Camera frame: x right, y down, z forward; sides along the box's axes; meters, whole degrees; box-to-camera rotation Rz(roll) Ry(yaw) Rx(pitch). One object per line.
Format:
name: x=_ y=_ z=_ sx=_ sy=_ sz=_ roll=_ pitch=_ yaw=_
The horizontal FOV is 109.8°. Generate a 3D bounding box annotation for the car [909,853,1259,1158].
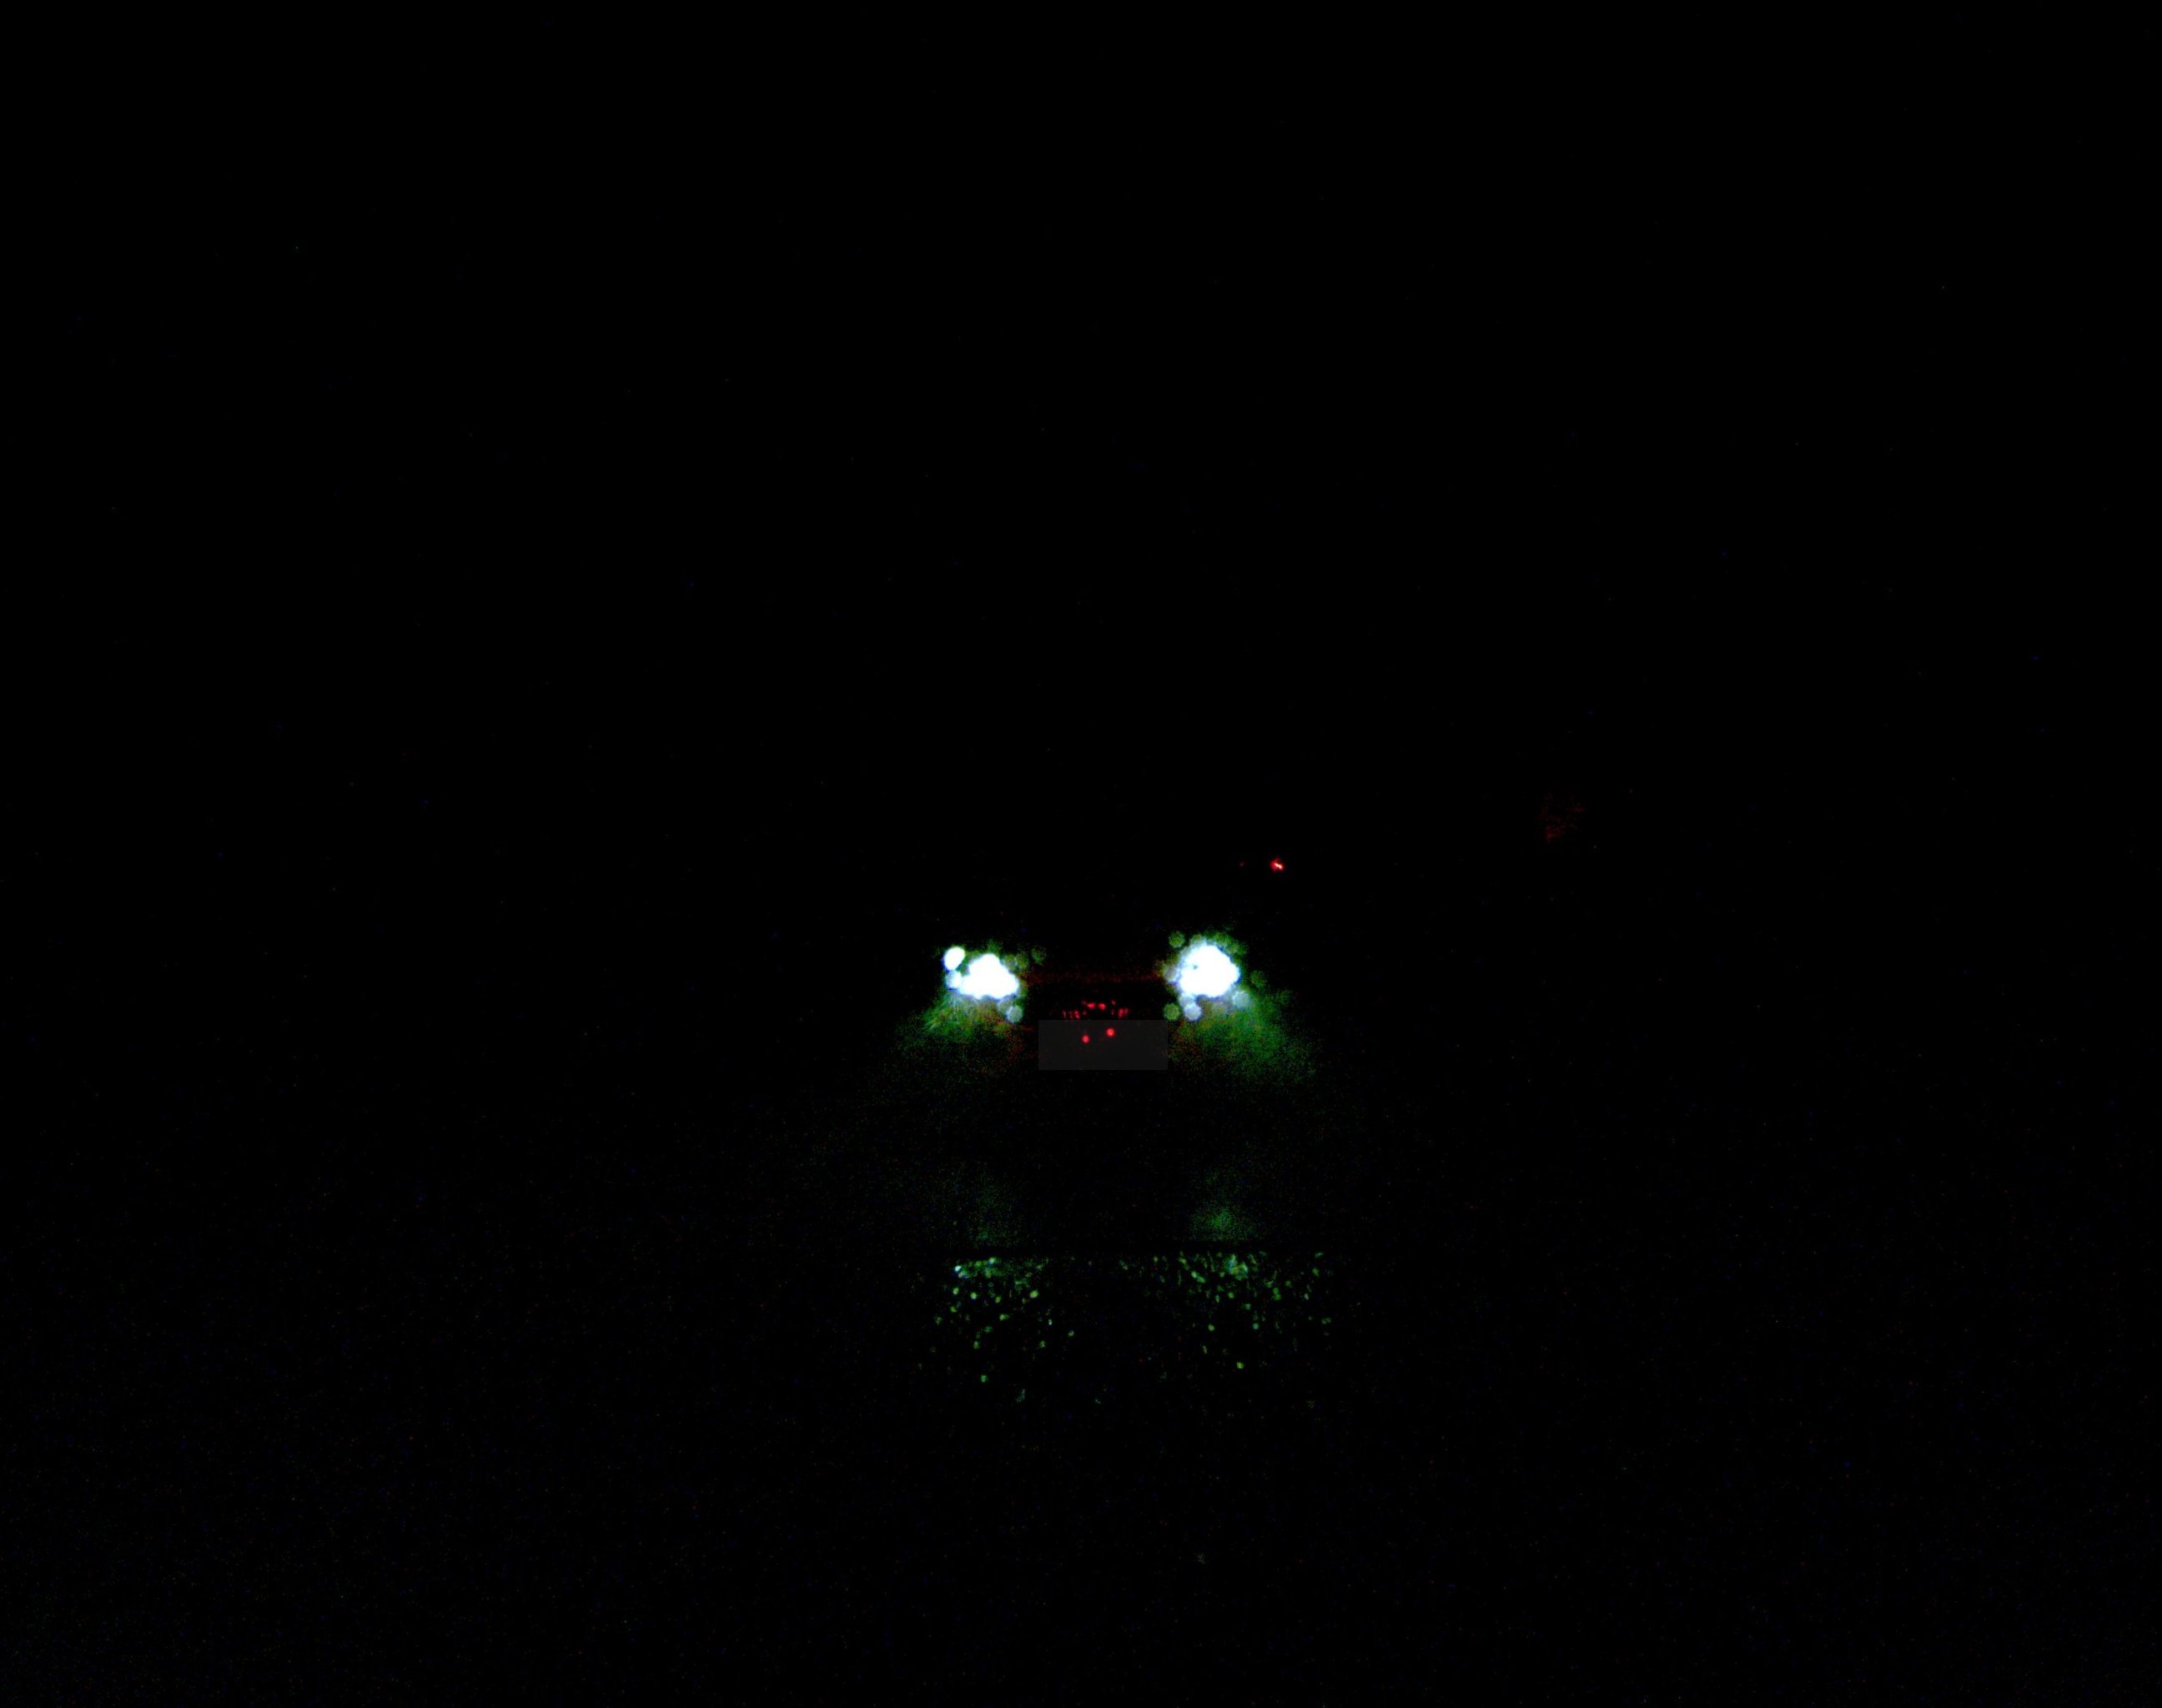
car: x=0.117 y=0.844 z=6.413 sx=1.862 sy=1.601 sz=4.420 roll=-3 pitch=0 yaw=3

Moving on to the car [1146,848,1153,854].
car: x=20.426 y=-0.926 z=226.047 sx=1.867 sy=1.535 sz=4.230 roll=-2 pitch=-1 yaw=2
